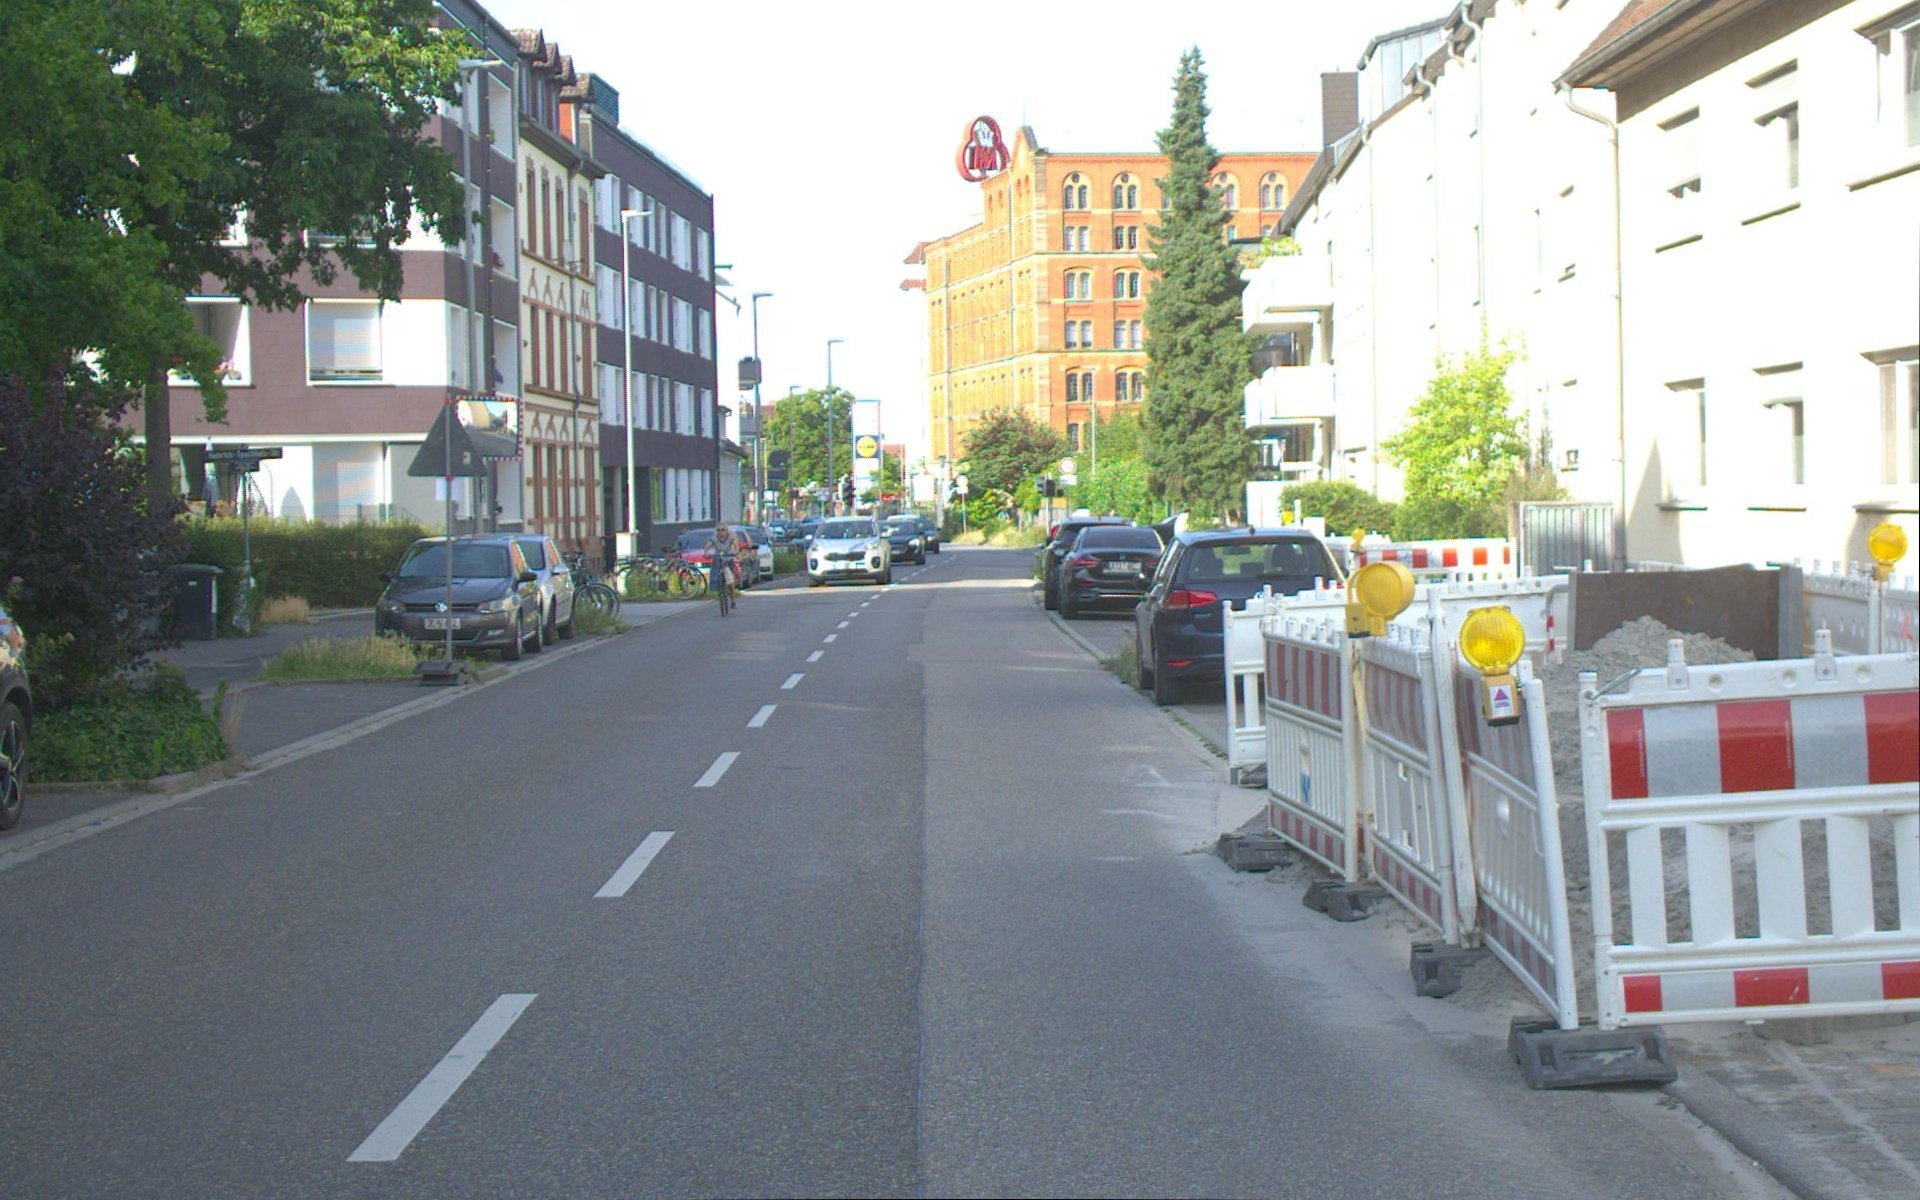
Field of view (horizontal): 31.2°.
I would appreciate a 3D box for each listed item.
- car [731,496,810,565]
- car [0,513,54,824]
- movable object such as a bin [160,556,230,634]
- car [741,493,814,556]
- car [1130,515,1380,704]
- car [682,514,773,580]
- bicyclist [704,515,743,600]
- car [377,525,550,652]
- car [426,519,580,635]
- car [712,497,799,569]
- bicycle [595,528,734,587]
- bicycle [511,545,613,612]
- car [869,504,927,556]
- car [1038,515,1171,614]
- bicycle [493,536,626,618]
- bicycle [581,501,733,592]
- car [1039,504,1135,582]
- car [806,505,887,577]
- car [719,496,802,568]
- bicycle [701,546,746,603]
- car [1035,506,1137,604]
[{"bbox_3d":[-5.452,-2.018,99.474,1.993,1.901,4.000,-1,1,1],"label":"car"},{"bbox_3d":[-5.750,0.382,16.528,1.686,1.597,4.370,0,1,-1],"label":"car"},{"bbox_3d":[-10.523,-0.075,47.319,0.752,1.036,0.816,2,1,0],"label":"movable object such as a bin"},{"bbox_3d":[-5.589,-2.328,105.566,1.993,1.875,4.000,-1,2,0],"label":"car"},{"bbox_3d":[2.496,0.029,29.928,1.830,1.477,3.943,-2,2,1],"label":"car"},{"bbox_3d":[-5.343,-1.247,79.449,1.840,1.459,3.585,-1,2,0],"label":"car"},{"bbox_3d":[-4.066,-0.730,59.122,0.591,1.437,0.750,-1,1,1],"label":"bicyclist"},{"bbox_3d":[-5.911,-0.171,41.256,1.573,1.415,3.804,0,2,-1],"label":"car"},{"bbox_3d":[-6.221,-0.346,47.147,1.676,1.496,4.001,-1,2,-2],"label":"car"},{"bbox_3d":[-5.353,-1.772,90.280,1.993,1.829,3.689,-1,1,1],"label":"car"},{"bbox_3d":[-6.143,-0.893,71.579,2.773,1.140,1.143,-1,1,1],"label":"bicycle"},{"bbox_3d":[-6.308,-0.345,54.569,1.584,1.037,0.708,-1,1,-5],"label":"bicycle"},{"bbox_3d":[-1.961,-2.259,110.177,1.763,1.610,4.000,-2,2,0],"label":"car"},{"bbox_3d":[2.249,-0.589,54.308,1.859,1.467,4.000,-1,1,-1],"label":"car"},{"bbox_3d":[-6.150,-0.359,52.846,2.000,1.213,0.708,-1,1,-5],"label":"bicycle"},{"bbox_3d":[-6.143,-1.097,69.802,2.918,1.771,1.202,-1,1,1],"label":"bicycle"},{"bbox_3d":[2.615,-1.217,71.651,1.763,1.521,4.000,-2,2,0],"label":"car"},{"bbox_3d":[-2.677,-1.421,81.758,1.763,1.610,4.000,-2,2,0],"label":"car"},{"bbox_3d":[-5.520,-1.890,95.398,1.993,1.905,3.689,-1,1,1],"label":"car"},{"bbox_3d":[-4.061,-0.445,59.048,0.608,0.939,1.811,-1,2,1],"label":"bicycle"},{"bbox_3d":[2.156,-0.799,59.558,1.601,1.640,3.685,0,2,0],"label":"car"}]
